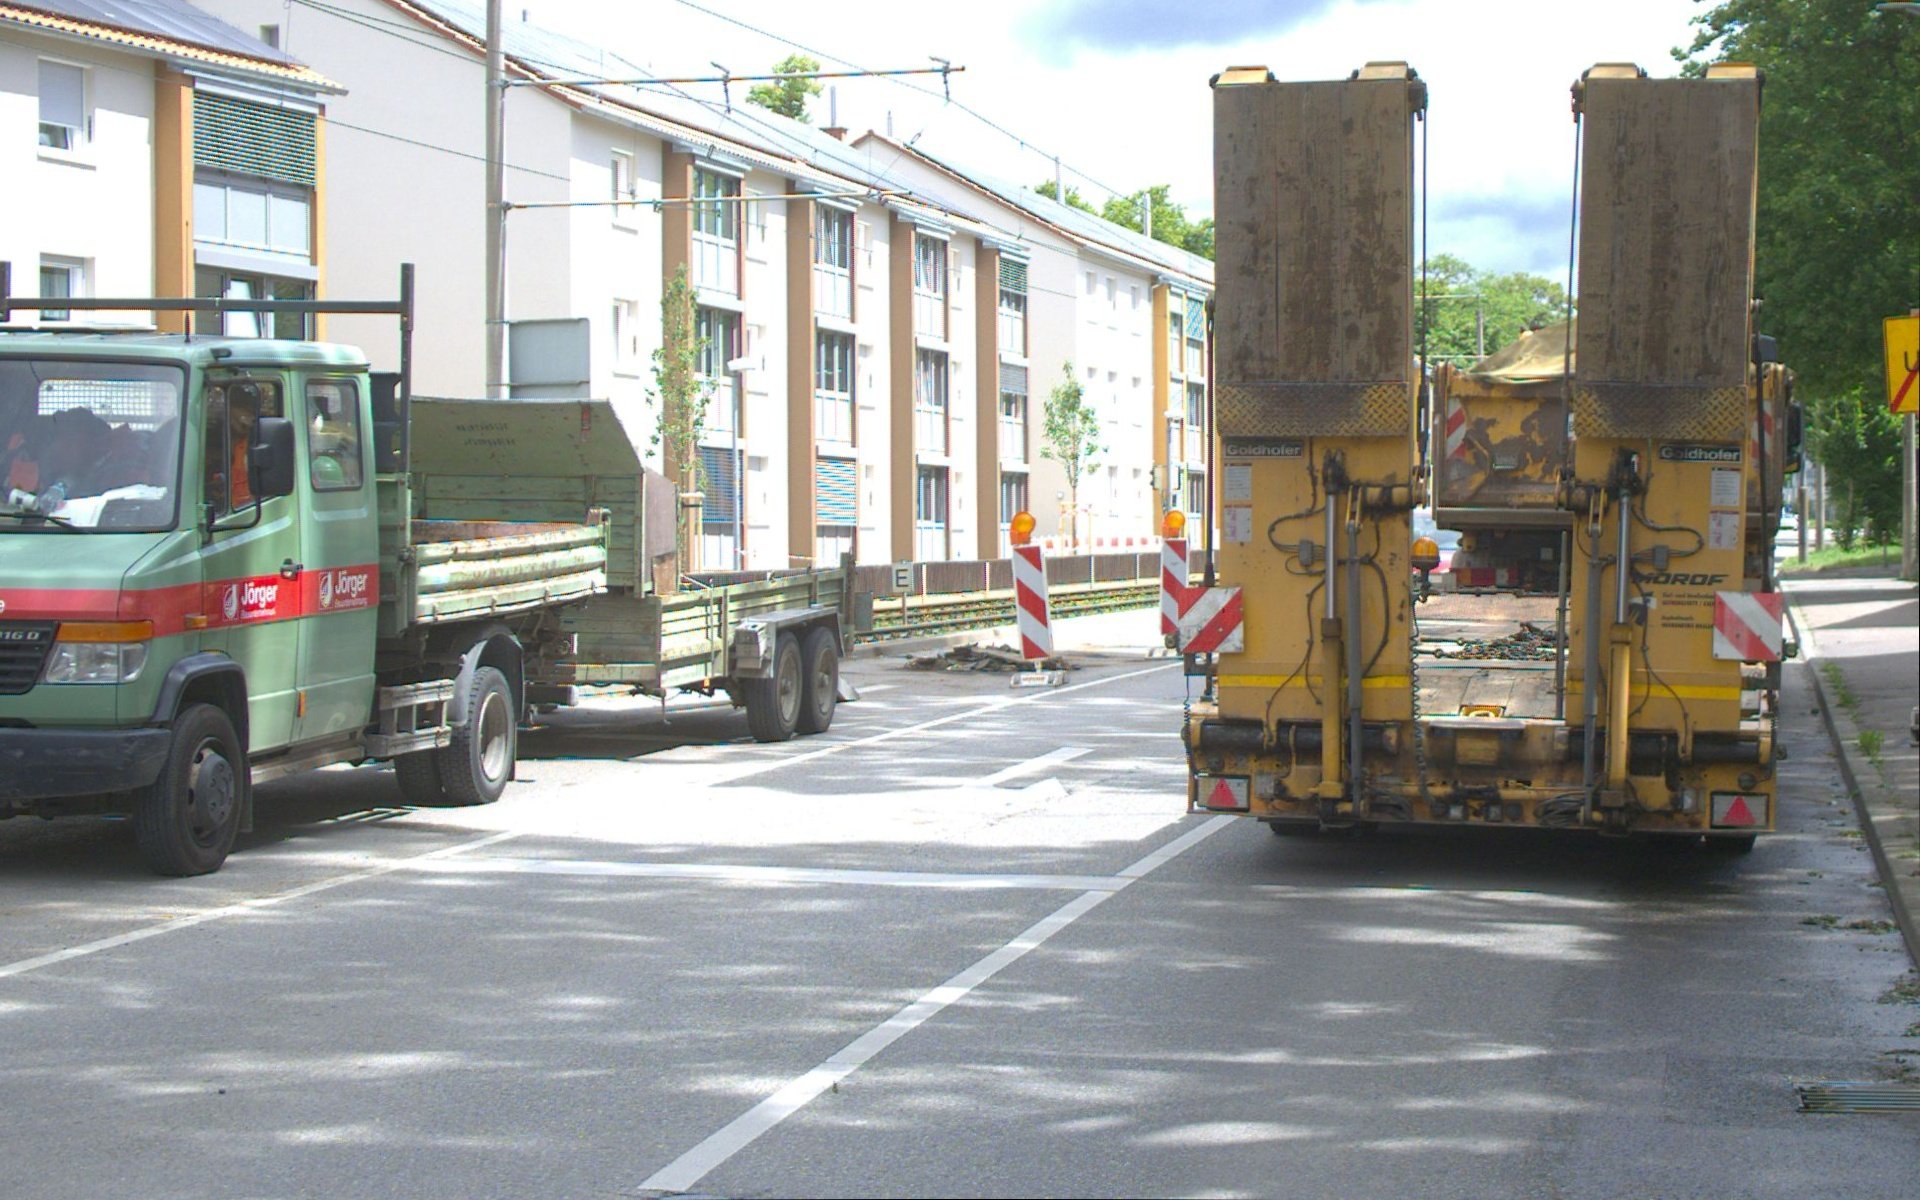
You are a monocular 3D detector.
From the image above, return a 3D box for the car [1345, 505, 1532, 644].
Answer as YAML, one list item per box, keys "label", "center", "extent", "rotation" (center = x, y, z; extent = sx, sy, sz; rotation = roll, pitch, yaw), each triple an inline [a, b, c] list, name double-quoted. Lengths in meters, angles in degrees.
- label: "car"
  center: [5.931, -0.332, 42.238]
  extent: [1.844, 1.612, 4.239]
  rotation: [0, 1, 14]

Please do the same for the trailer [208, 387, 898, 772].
- label: "trailer"
  center: [-2.485, -0.203, 23.298]
  extent: [2.664, 2.206, 6.244]
  rotation: [1, 2, 13]

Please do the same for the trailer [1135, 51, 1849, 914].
- label: "trailer"
  center: [3.358, -0.671, 19.747]
  extent: [2.824, 3.512, 11.046]
  rotation: [2, 2, 12]

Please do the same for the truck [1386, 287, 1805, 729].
- label: "truck"
  center: [5.539, -0.772, 28.864]
  extent: [2.919, 3.156, 7.675]
  rotation: [2, 2, 14]

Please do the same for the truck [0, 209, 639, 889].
- label: "truck"
  center: [-3.896, -0.301, 17.132]
  extent: [2.664, 2.716, 6.392]
  rotation: [1, 1, 13]
